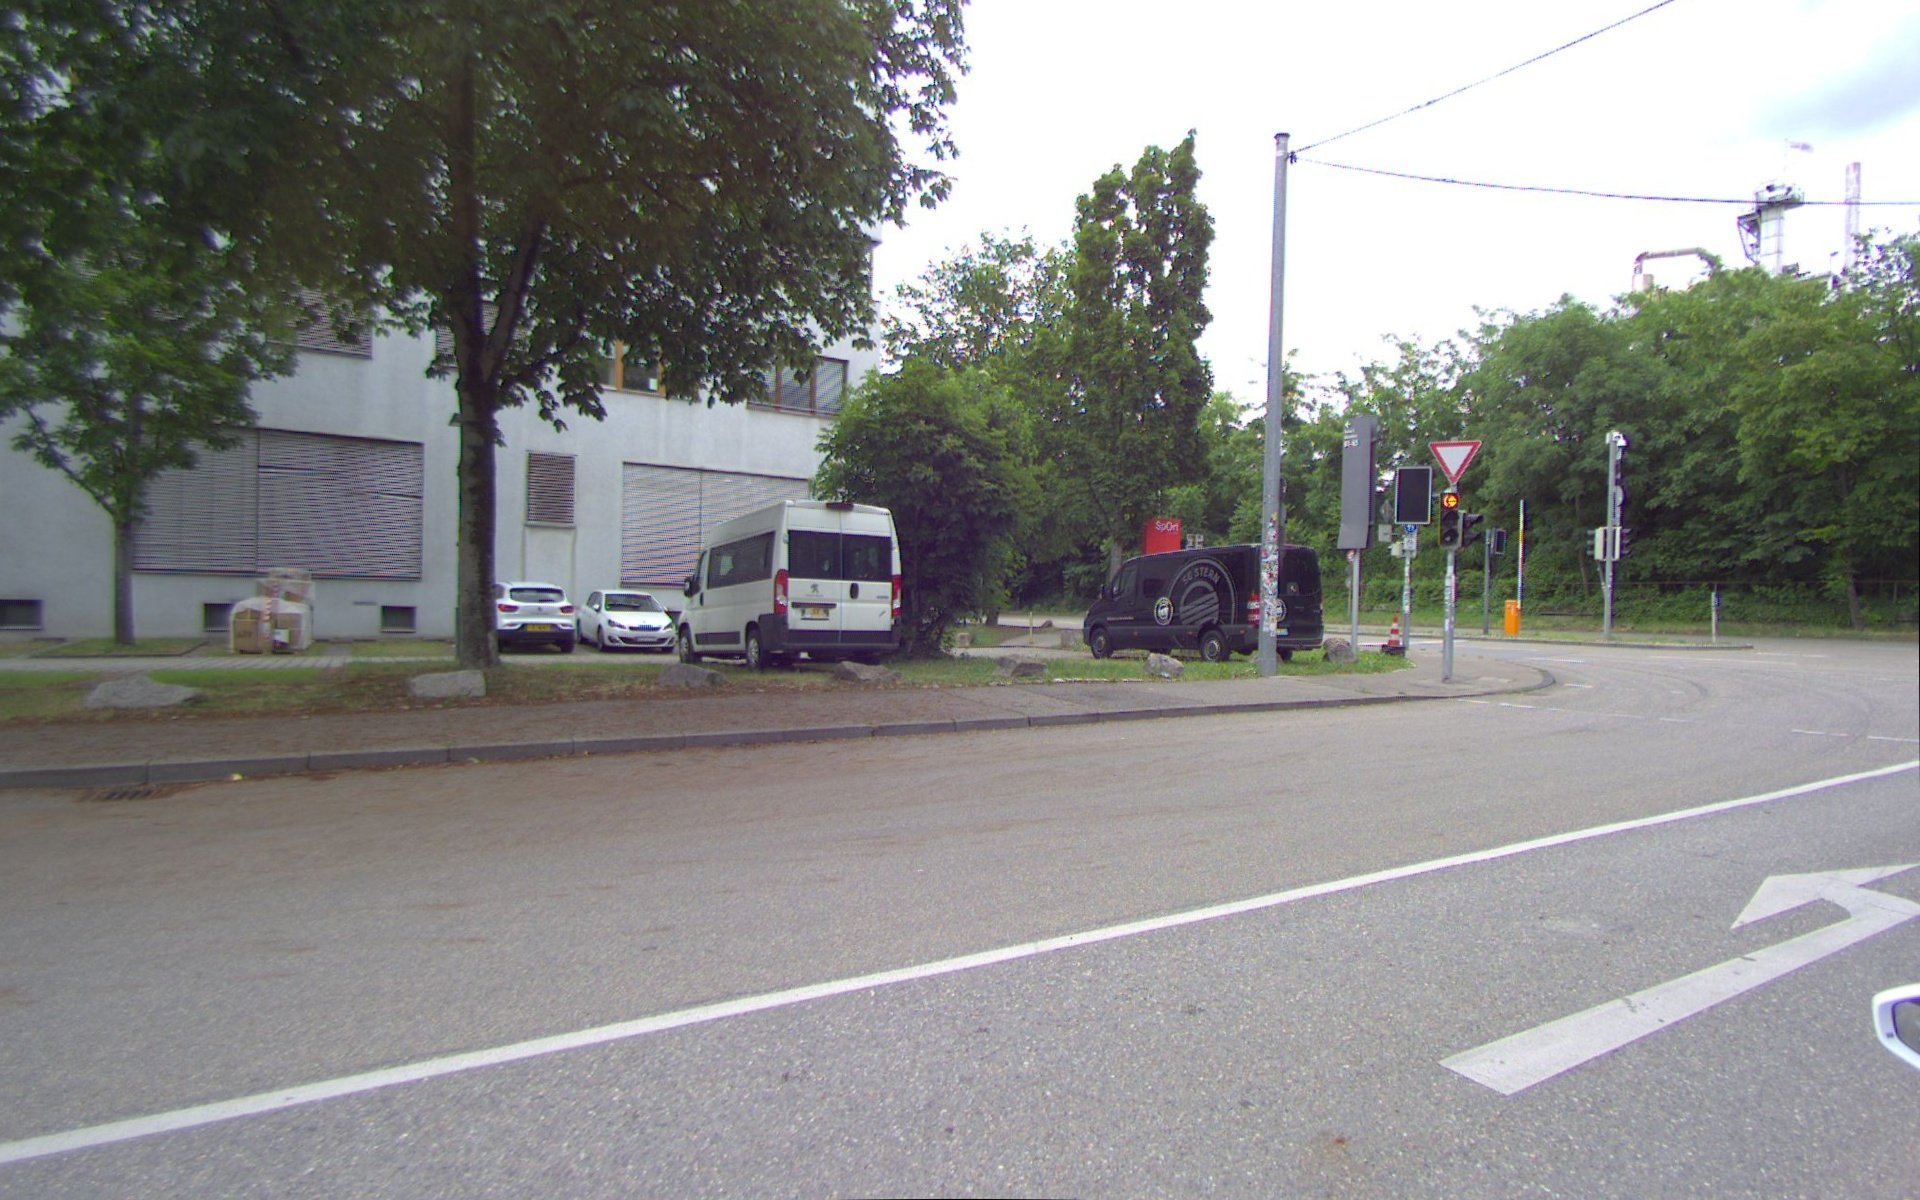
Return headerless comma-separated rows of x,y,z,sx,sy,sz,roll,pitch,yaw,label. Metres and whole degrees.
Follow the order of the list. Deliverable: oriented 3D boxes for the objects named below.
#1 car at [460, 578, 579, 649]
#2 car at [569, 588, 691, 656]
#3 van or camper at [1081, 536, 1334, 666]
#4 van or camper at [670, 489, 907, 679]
-10.575,0.288,23.977,1.881,1.475,3.972,3,0,-34,car
-8.477,0.522,25.600,1.881,1.475,3.972,3,0,-34,car
5.006,0.122,21.258,2.036,2.343,5.513,3,-3,-28,van or camper
-2.995,-0.244,16.429,2.039,2.604,4.943,3,0,-32,van or camper
